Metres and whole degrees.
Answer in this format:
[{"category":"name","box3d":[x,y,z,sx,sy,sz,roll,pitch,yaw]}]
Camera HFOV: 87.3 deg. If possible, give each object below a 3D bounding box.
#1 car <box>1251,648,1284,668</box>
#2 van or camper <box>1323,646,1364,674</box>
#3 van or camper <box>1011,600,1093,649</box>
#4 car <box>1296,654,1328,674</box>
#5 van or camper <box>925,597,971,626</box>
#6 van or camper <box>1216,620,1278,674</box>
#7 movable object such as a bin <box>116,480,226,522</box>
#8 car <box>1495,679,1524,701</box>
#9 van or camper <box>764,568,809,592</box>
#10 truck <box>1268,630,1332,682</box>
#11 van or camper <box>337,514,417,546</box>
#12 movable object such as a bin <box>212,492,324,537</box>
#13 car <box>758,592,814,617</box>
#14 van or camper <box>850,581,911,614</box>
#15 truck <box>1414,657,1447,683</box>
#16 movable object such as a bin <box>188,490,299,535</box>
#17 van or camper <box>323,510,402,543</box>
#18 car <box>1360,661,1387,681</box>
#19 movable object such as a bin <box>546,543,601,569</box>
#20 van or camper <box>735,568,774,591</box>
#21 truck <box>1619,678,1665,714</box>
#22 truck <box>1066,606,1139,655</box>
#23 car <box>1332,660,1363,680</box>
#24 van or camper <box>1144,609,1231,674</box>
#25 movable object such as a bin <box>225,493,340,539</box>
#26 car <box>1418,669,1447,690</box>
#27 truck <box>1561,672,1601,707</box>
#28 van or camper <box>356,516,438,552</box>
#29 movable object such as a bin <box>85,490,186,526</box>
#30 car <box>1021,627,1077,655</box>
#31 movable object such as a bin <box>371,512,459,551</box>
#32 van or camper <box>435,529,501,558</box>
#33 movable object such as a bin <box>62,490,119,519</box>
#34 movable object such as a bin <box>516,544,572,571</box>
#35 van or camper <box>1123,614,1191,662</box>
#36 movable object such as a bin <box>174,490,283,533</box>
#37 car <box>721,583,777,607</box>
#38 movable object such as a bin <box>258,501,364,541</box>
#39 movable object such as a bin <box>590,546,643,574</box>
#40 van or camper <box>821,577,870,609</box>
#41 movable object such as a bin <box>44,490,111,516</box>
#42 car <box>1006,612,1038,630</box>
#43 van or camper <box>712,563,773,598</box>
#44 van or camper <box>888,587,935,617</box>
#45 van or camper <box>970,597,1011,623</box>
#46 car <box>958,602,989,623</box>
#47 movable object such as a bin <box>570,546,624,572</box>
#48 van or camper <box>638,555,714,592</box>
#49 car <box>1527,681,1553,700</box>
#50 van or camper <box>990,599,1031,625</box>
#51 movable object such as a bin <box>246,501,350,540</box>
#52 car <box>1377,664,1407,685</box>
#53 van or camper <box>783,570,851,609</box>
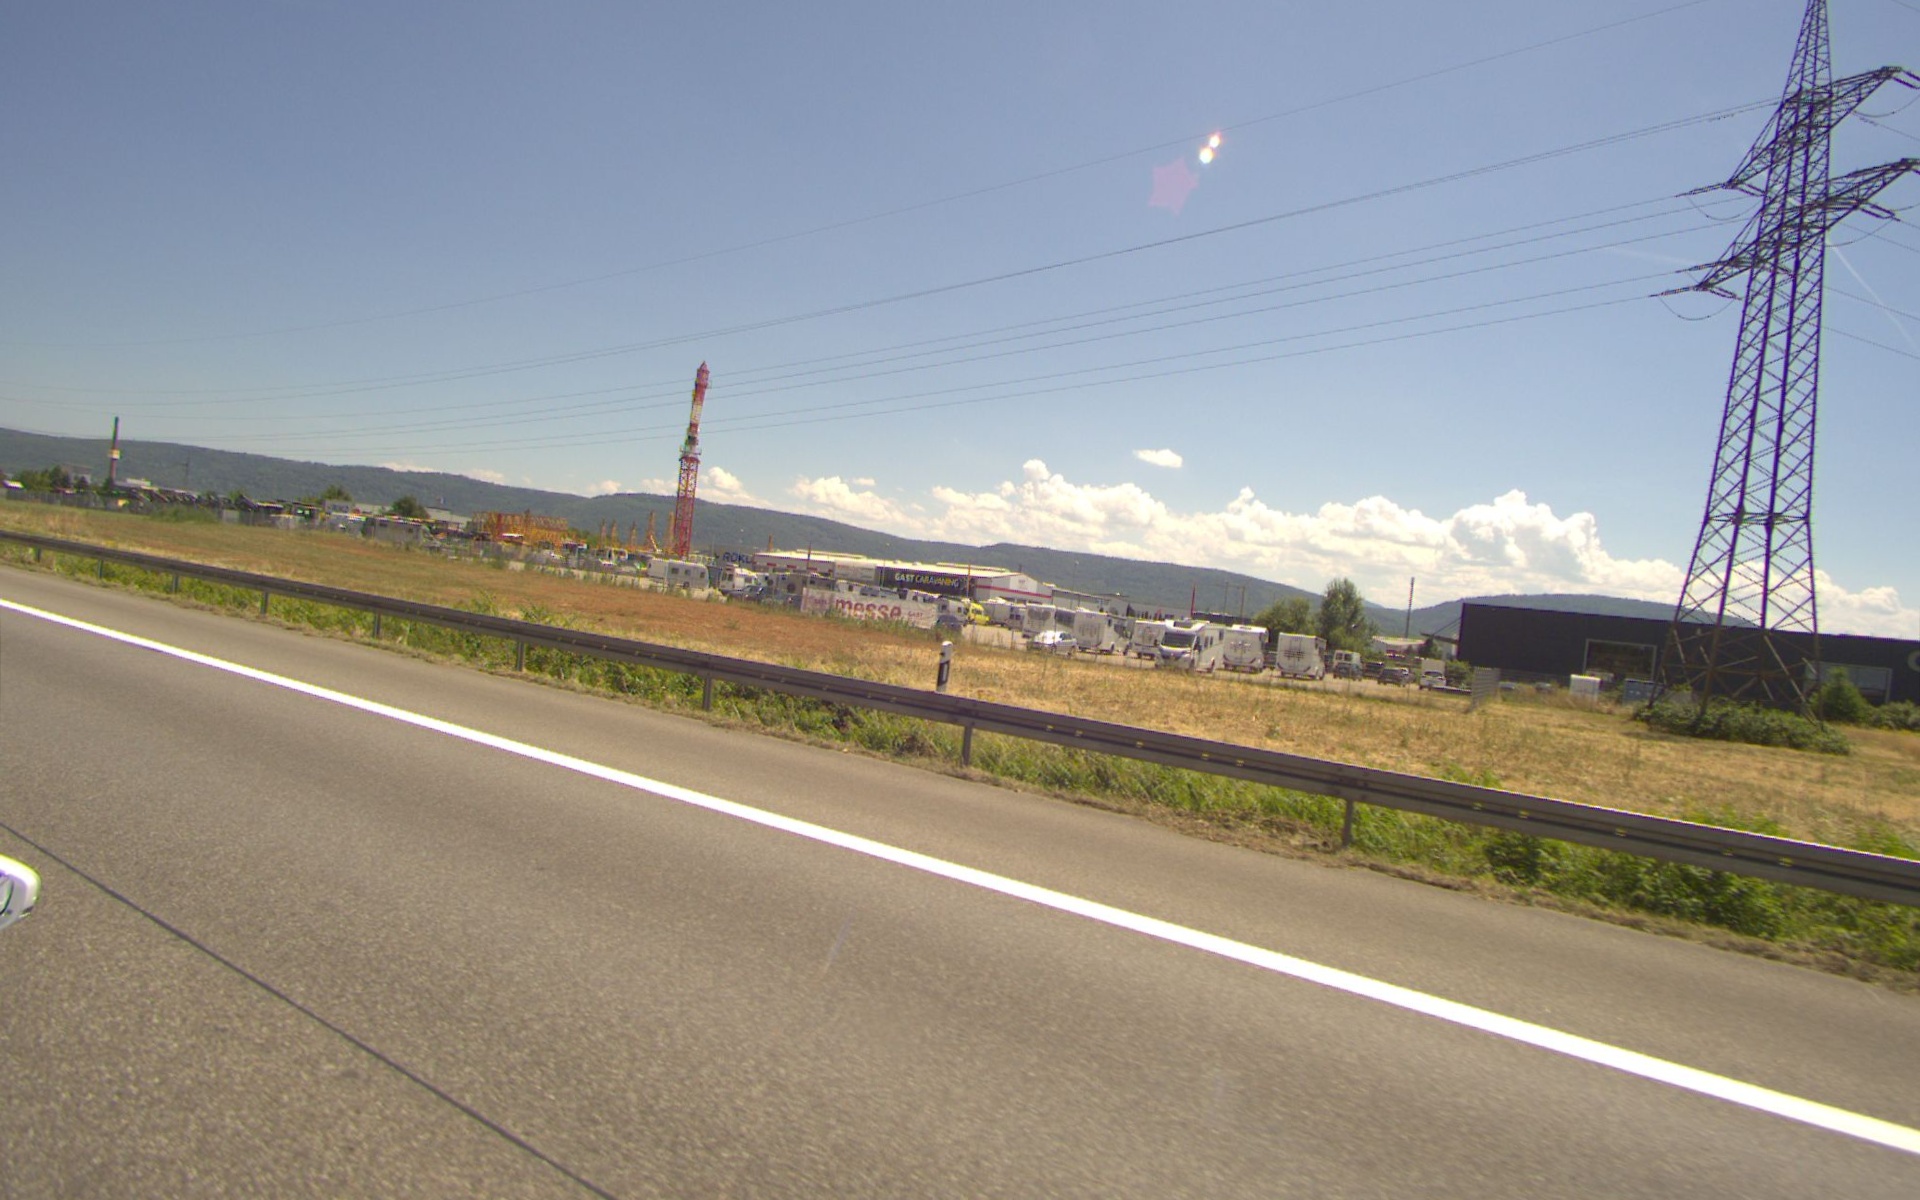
[{"category":"car","box3d":[25.587,4.861,83.645,1.670,1.370,3.994,7,-1,29]},{"category":"van or camper","box3d":[36.963,5.752,96.835,2.713,2.285,6.222,7,0,28]},{"category":"van or camper","box3d":[6.797,1.834,73.273,3.101,2.916,7.756,7,-1,27]},{"category":"car","box3d":[28.828,5.284,82.290,1.670,1.370,3.994,7,-1,29]},{"category":"van or camper","box3d":[-1.189,1.193,103.005,2.377,2.588,5.326,7,0,24]},{"category":"van or camper","box3d":[19.829,3.280,69.096,2.627,3.232,7.758,7,0,25]},{"category":"movable object such as a bin","box3d":[-96.799,-12.079,123.656,2.354,3.736,10.260,6,1,31]},{"category":"car","box3d":[40.917,6.656,74.934,1.692,1.370,3.994,7,-1,29]},{"category":"van or camper","box3d":[-22.961,-2.657,133.309,2.397,2.585,5.834,7,0,30]},{"category":"truck","box3d":[22.819,3.794,67.324,2.725,2.916,7.756,7,-1,27]},{"category":"van or camper","box3d":[-56.942,-6.809,98.420,2.560,2.248,6.120,7,0,33]},{"category":"movable object such as a bin","box3d":[-76.663,-9.422,111.645,2.931,3.737,9.710,7,1,37]},{"category":"car","box3d":[-11.823,0.319,68.495,1.559,1.314,3.896,7,0,29]},{"category":"van or camper","box3d":[-6.818,-0.194,87.335,2.505,2.338,5.650,7,0,27]},{"category":"truck","box3d":[43.835,6.483,93.594,2.342,2.022,5.149,7,0,28]},{"category":"movable object such as a bin","box3d":[-81.351,-9.876,114.502,2.928,3.737,9.718,7,1,33]},{"category":"van or camper","box3d":[-59.238,-7.269,99.877,2.560,2.432,6.120,7,0,33]},{"category":"car","box3d":[39.166,6.744,95.211,1.739,1.654,4.239,7,0,29]},{"category":"movable object such as a bin","box3d":[-49.079,-5.573,127.567,6.695,2.587,2.914,6,1,32]},{"category":"van or camper","box3d":[-27.613,-2.753,134.936,4.857,2.416,2.158,7,1,33]},{"category":"truck","box3d":[56.556,7.883,83.515,2.531,2.477,6.778,7,0,31]},{"category":"truck","box3d":[10.289,2.265,71.767,2.558,2.916,7.756,7,-1,27]},{"category":"car","box3d":[31.114,5.607,80.781,1.670,1.370,3.994,7,-1,29]},{"category":"van or camper","box3d":[12.960,2.426,56.827,2.393,3.139,7.752,7,0,29]},{"category":"movable object such as a bin","box3d":[-73.823,-9.088,109.805,3.366,3.737,9.709,7,1,37]},{"category":"car","box3d":[36.668,6.177,77.985,1.692,1.370,3.994,7,-1,29]},{"category":"truck","box3d":[53.009,7.585,85.939,2.531,2.477,6.137,7,0,31]},{"category":"van or camper","box3d":[-53.867,-6.313,96.457,2.398,2.585,6.347,7,0,33]},{"category":"movable object such as a bin","box3d":[-111.222,-12.320,135.897,10.181,3.459,2.499,5,1,-34]},{"category":"car","box3d":[5.238,2.415,58.897,1.560,1.313,3.895,7,-1,32]},{"category":"movable object such as a bin","box3d":[-67.001,-8.374,123.916,2.877,3.617,9.039,6,1,36]},{"category":"van or camper","box3d":[-55.455,-6.306,113.559,2.560,2.432,6.120,7,0,33]},{"category":"movable object such as a bin","box3d":[-120.394,-13.254,139.335,5.808,3.238,2.490,5,1,-44]},{"category":"movable object such as a bin","box3d":[-51.506,-5.273,124.399,6.695,2.587,2.914,6,1,32]},{"category":"van or camper","box3d":[14.385,2.824,72.891,2.558,2.916,7.756,7,-1,27]},{"category":"movable object such as a bin","box3d":[-84.592,-10.205,116.594,2.591,3.737,9.718,7,1,33]},{"category":"car","box3d":[-14.765,-0.323,70.582,1.559,1.314,3.896,7,0,29]},{"category":"movable object such as a bin","box3d":[-68.133,-8.229,105.865,3.166,3.045,8.721,7,1,37]},{"category":"movable object such as a bin","box3d":[-45.401,-5.297,132.921,6.695,3.068,2.914,6,1,32]},{"category":"van or camper","box3d":[-12.054,-0.712,106.608,2.570,2.799,5.270,7,0,24]},{"category":"movable object such as a bin","box3d":[-124.129,-13.639,141.504,6.856,2.723,3.138,5,1,-44]},{"category":"car","box3d":[7.113,2.397,115.039,1.893,1.577,3.994,7,-1,29]},{"category":"van or camper","box3d":[-20.548,-1.853,95.248,2.572,2.711,5.264,7,0,30]},{"category":"van or camper","box3d":[-4.914,0.240,102.361,2.377,2.588,5.326,7,0,24]},{"category":"van or camper","box3d":[3.888,1.292,128.032,2.600,2.766,5.947,7,0,28]},{"category":"car","box3d":[1.626,1.465,118.790,1.893,2.011,3.994,7,0,29]},{"category":"movable object such as a bin","box3d":[-47.008,-5.320,130.100,6.695,2.587,2.914,6,1,32]},{"category":"van or camper","box3d":[-27.143,-2.487,96.495,3.269,2.711,6.359,7,0,30]},{"category":"car","box3d":[50.352,7.854,87.348,1.692,1.370,3.663,7,-1,29]},{"category":"van or camper","box3d":[6.368,1.581,126.488,2.600,2.766,5.947,7,0,28]},{"category":"movable object such as a bin","box3d":[-70.907,-8.513,107.927,2.911,3.045,8.720,7,1,38]},{"category":"car","box3d":[34.238,5.901,79.654,1.670,1.370,3.994,7,-1,29]},{"category":"van or camper","box3d":[-12.719,-0.891,90.035,2.381,2.801,6.454,7,0,30]}]
